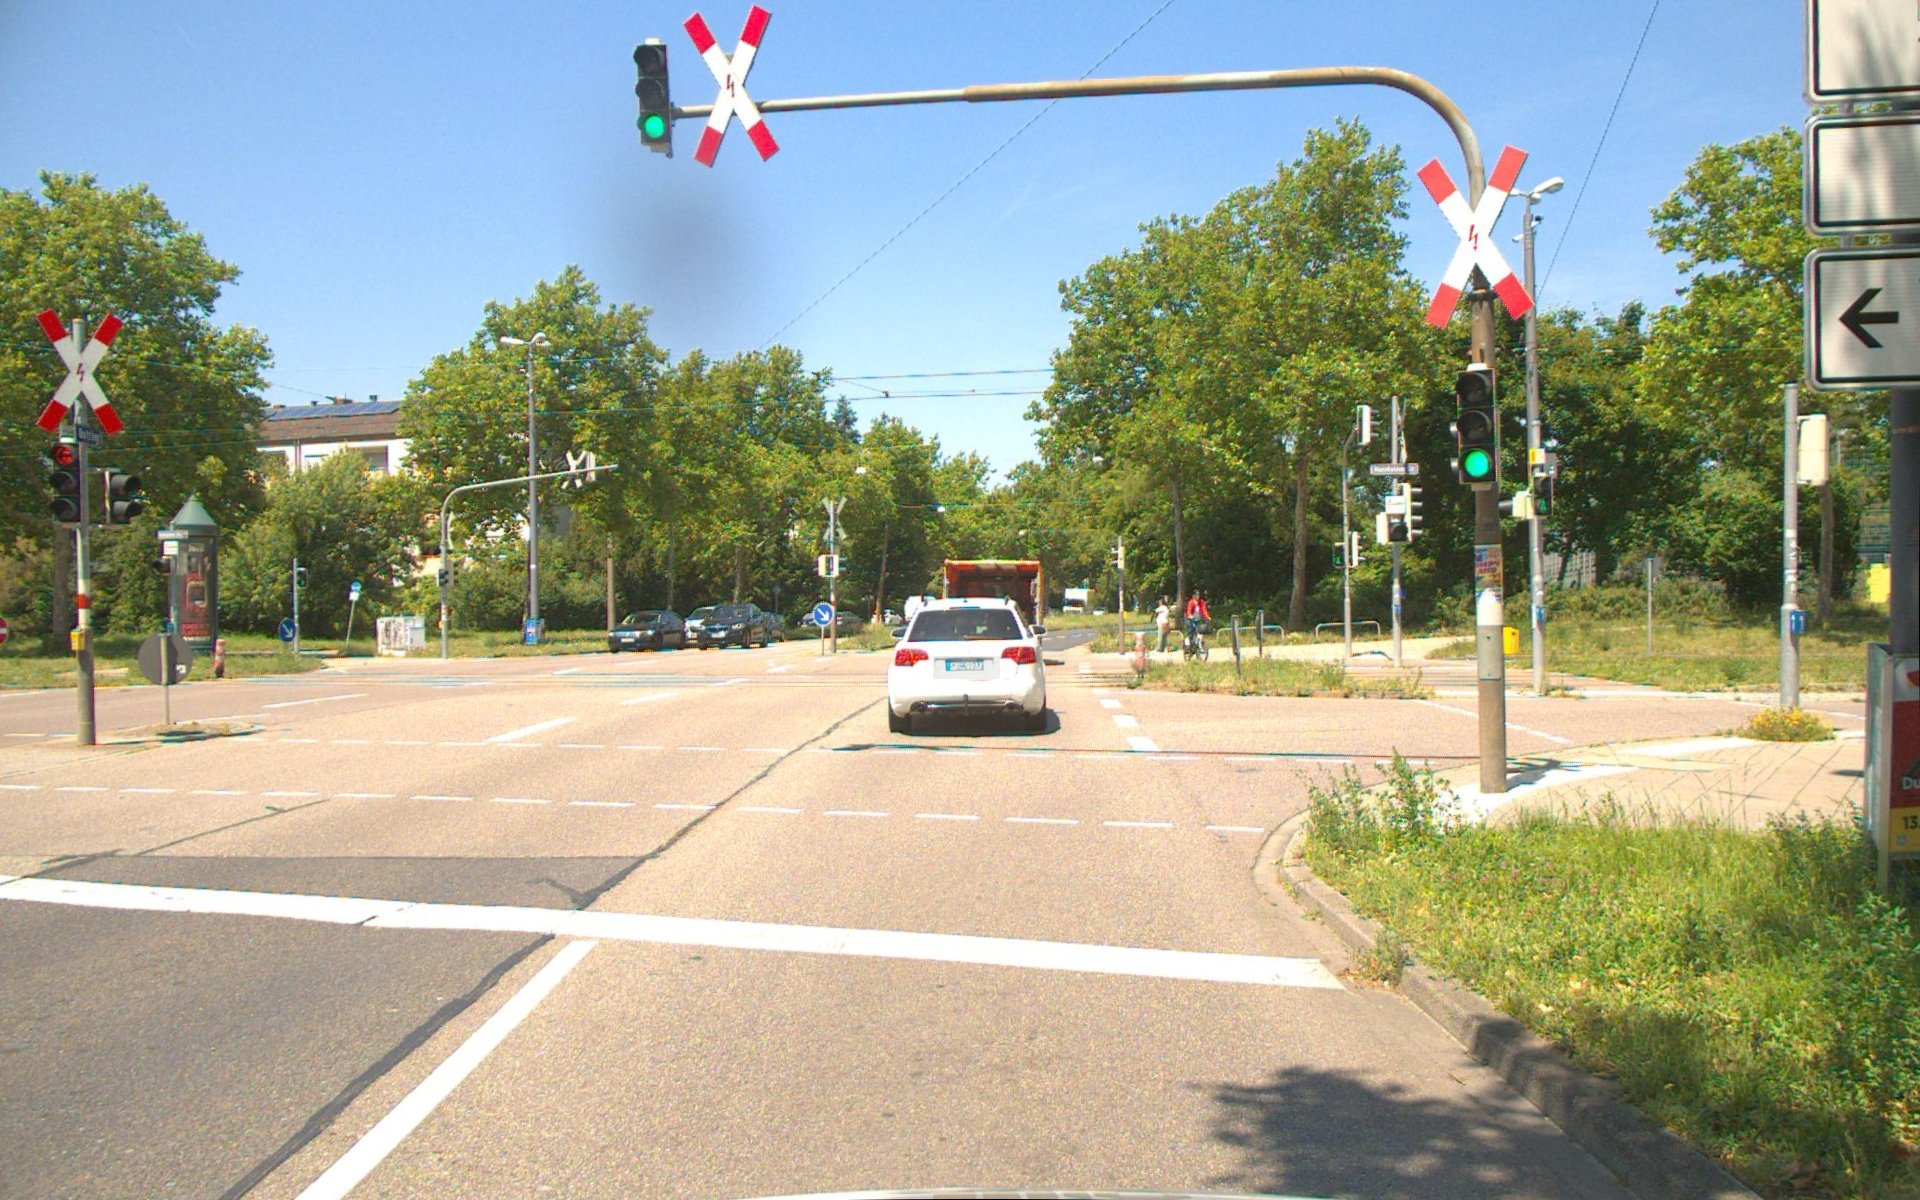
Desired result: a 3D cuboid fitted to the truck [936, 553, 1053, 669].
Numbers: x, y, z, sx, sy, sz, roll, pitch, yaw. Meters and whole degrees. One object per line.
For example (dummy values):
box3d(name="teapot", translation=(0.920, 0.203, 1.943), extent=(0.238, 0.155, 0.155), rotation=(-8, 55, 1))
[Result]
box3d(name="truck", translation=(0.993, 0.284, 41.336), extent=(2.458, 2.604, 7.607), rotation=(1, 0, 5))

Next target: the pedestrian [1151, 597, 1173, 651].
box3d(name="pedestrian", translation=(5.771, 0.683, 47.139), extent=(0.541, 1.510, 0.630), rotation=(-1, 0, 13))

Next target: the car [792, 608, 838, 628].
box3d(name="car", translation=(-11.119, 1.381, 127.028), extent=(1.843, 1.417, 3.999), rotation=(-1, 0, 23))

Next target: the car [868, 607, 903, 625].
box3d(name="car", translation=(-6.371, 1.334, 142.018), extent=(1.842, 1.500, 4.003), rotation=(-1, 0, 16))

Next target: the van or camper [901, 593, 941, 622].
box3d(name="van or camper", translation=(-3.529, 0.657, 150.750), extent=(2.136, 2.633, 5.312), rotation=(-1, 0, 17))

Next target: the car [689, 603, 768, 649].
box3d(name="car", translation=(-8.235, 0.903, 59.150), extent=(1.869, 1.566, 4.301), rotation=(-1, 0, 5))

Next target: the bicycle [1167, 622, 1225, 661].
box3d(name="bicycle", translation=(5.737, 0.988, 40.279), extent=(0.579, 0.911, 1.799), rotation=(-1, 0, -22))

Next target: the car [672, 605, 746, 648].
box3d(name="car", translation=(-10.237, 1.054, 67.652), extent=(1.749, 1.643, 4.408), rotation=(-1, 0, 8))

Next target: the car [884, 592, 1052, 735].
box3d(name="car", translation=(0.100, 0.655, 18.858), extent=(1.726, 1.470, 3.616), rotation=(0, 0, 0))

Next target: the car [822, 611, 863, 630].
box3d(name="car", translation=(-9.382, 1.637, 132.332), extent=(1.842, 1.400, 4.001), rotation=(-1, 0, 20))

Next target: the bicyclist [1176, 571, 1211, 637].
box3d(name="bicyclist", translation=(5.688, 0.104, 40.362), extent=(0.569, 1.583, 0.669), rotation=(-1, 0, -21))

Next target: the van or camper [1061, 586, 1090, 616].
box3d(name="van or camper", translation=(13.238, 0.111, 189.383), extent=(2.604, 3.389, 5.505), rotation=(-1, 0, 11))

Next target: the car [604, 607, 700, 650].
box3d(name="car", translation=(-11.210, 1.021, 60.585), extent=(1.907, 1.465, 4.750), rotation=(-1, 0, 10))
